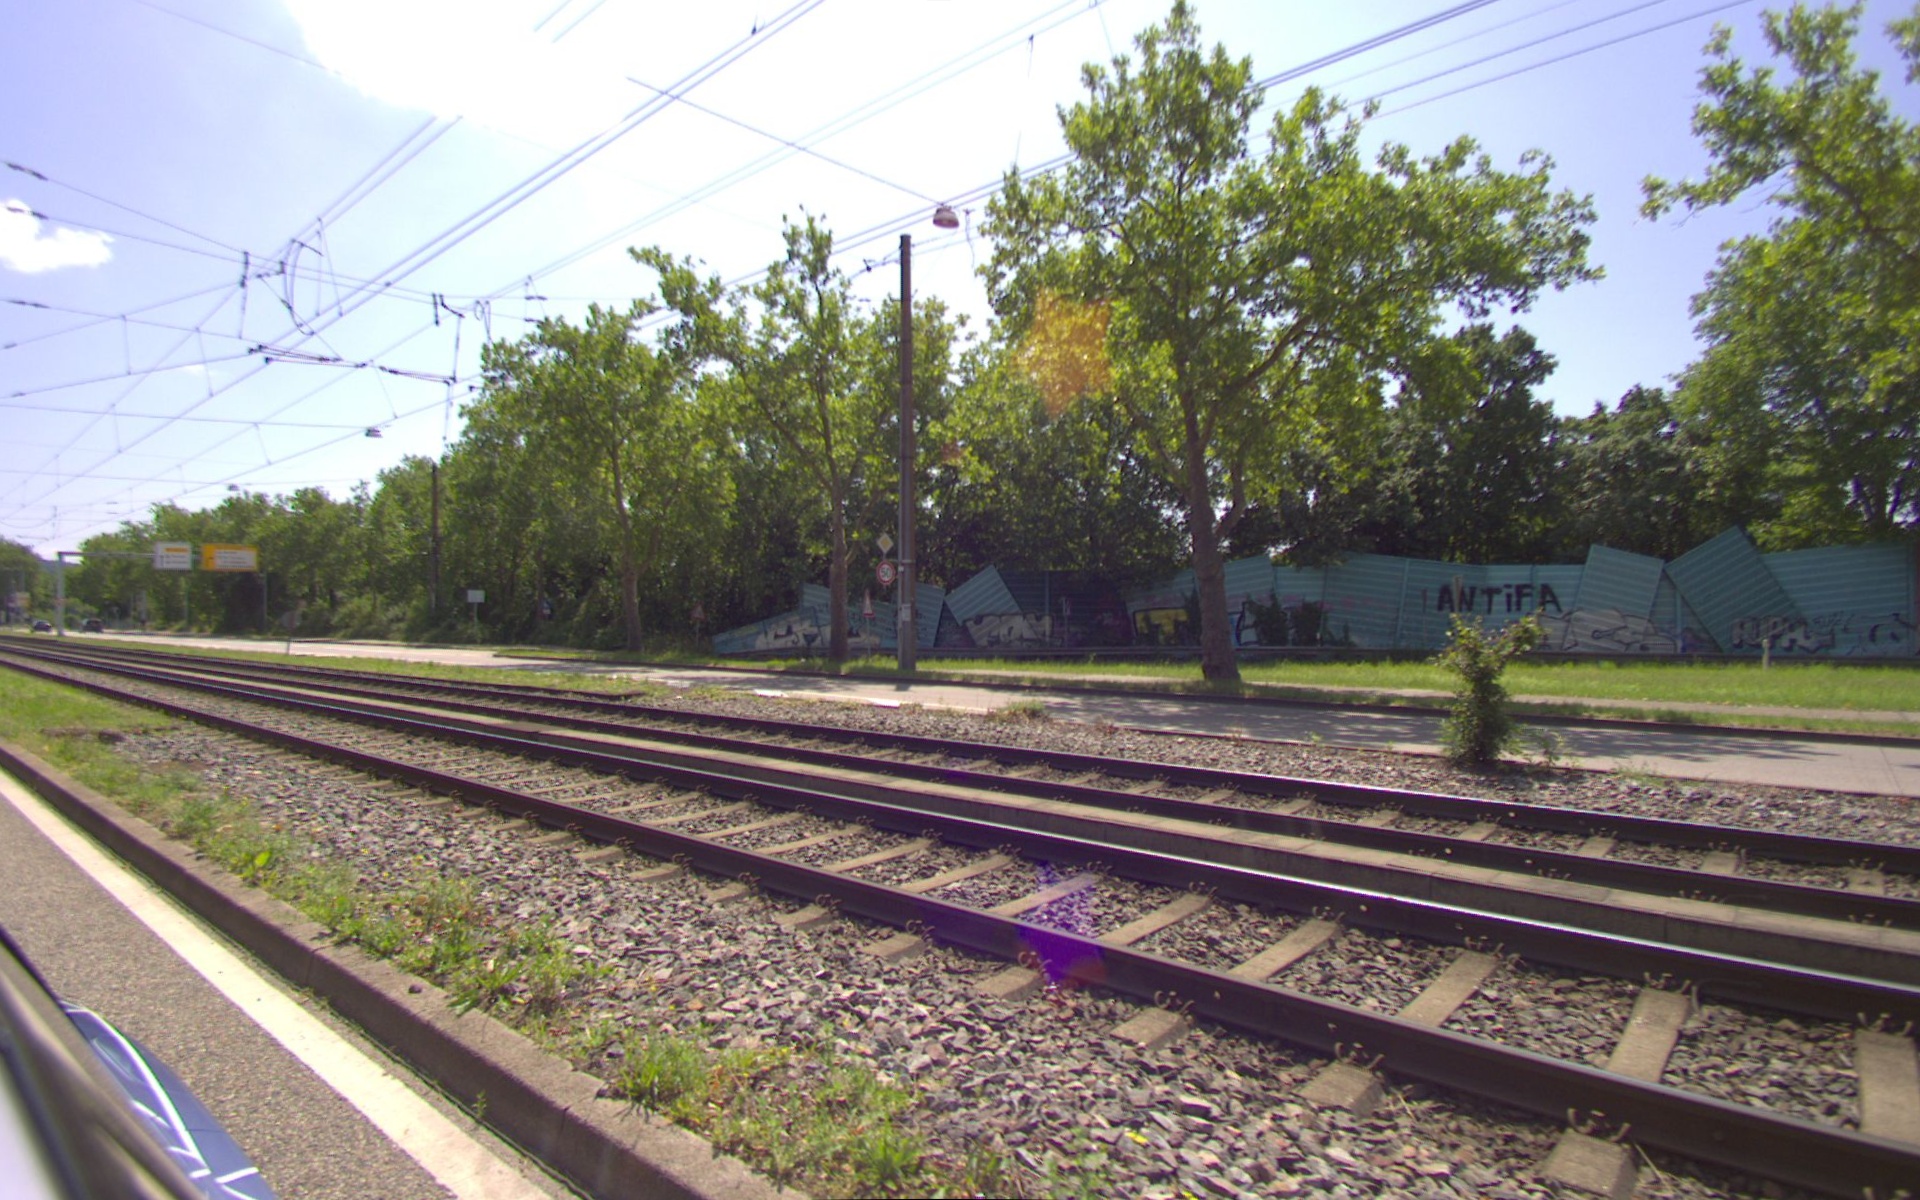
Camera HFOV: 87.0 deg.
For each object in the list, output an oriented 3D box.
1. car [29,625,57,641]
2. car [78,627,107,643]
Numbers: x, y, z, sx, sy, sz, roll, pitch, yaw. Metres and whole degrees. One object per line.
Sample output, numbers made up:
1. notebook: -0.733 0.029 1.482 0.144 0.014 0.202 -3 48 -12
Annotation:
1. car: -109.896 3.957 121.256 3.998 1.807 1.973 -1 0 41
2. car: -100.175 4.008 116.827 3.998 1.807 1.973 -1 0 41
